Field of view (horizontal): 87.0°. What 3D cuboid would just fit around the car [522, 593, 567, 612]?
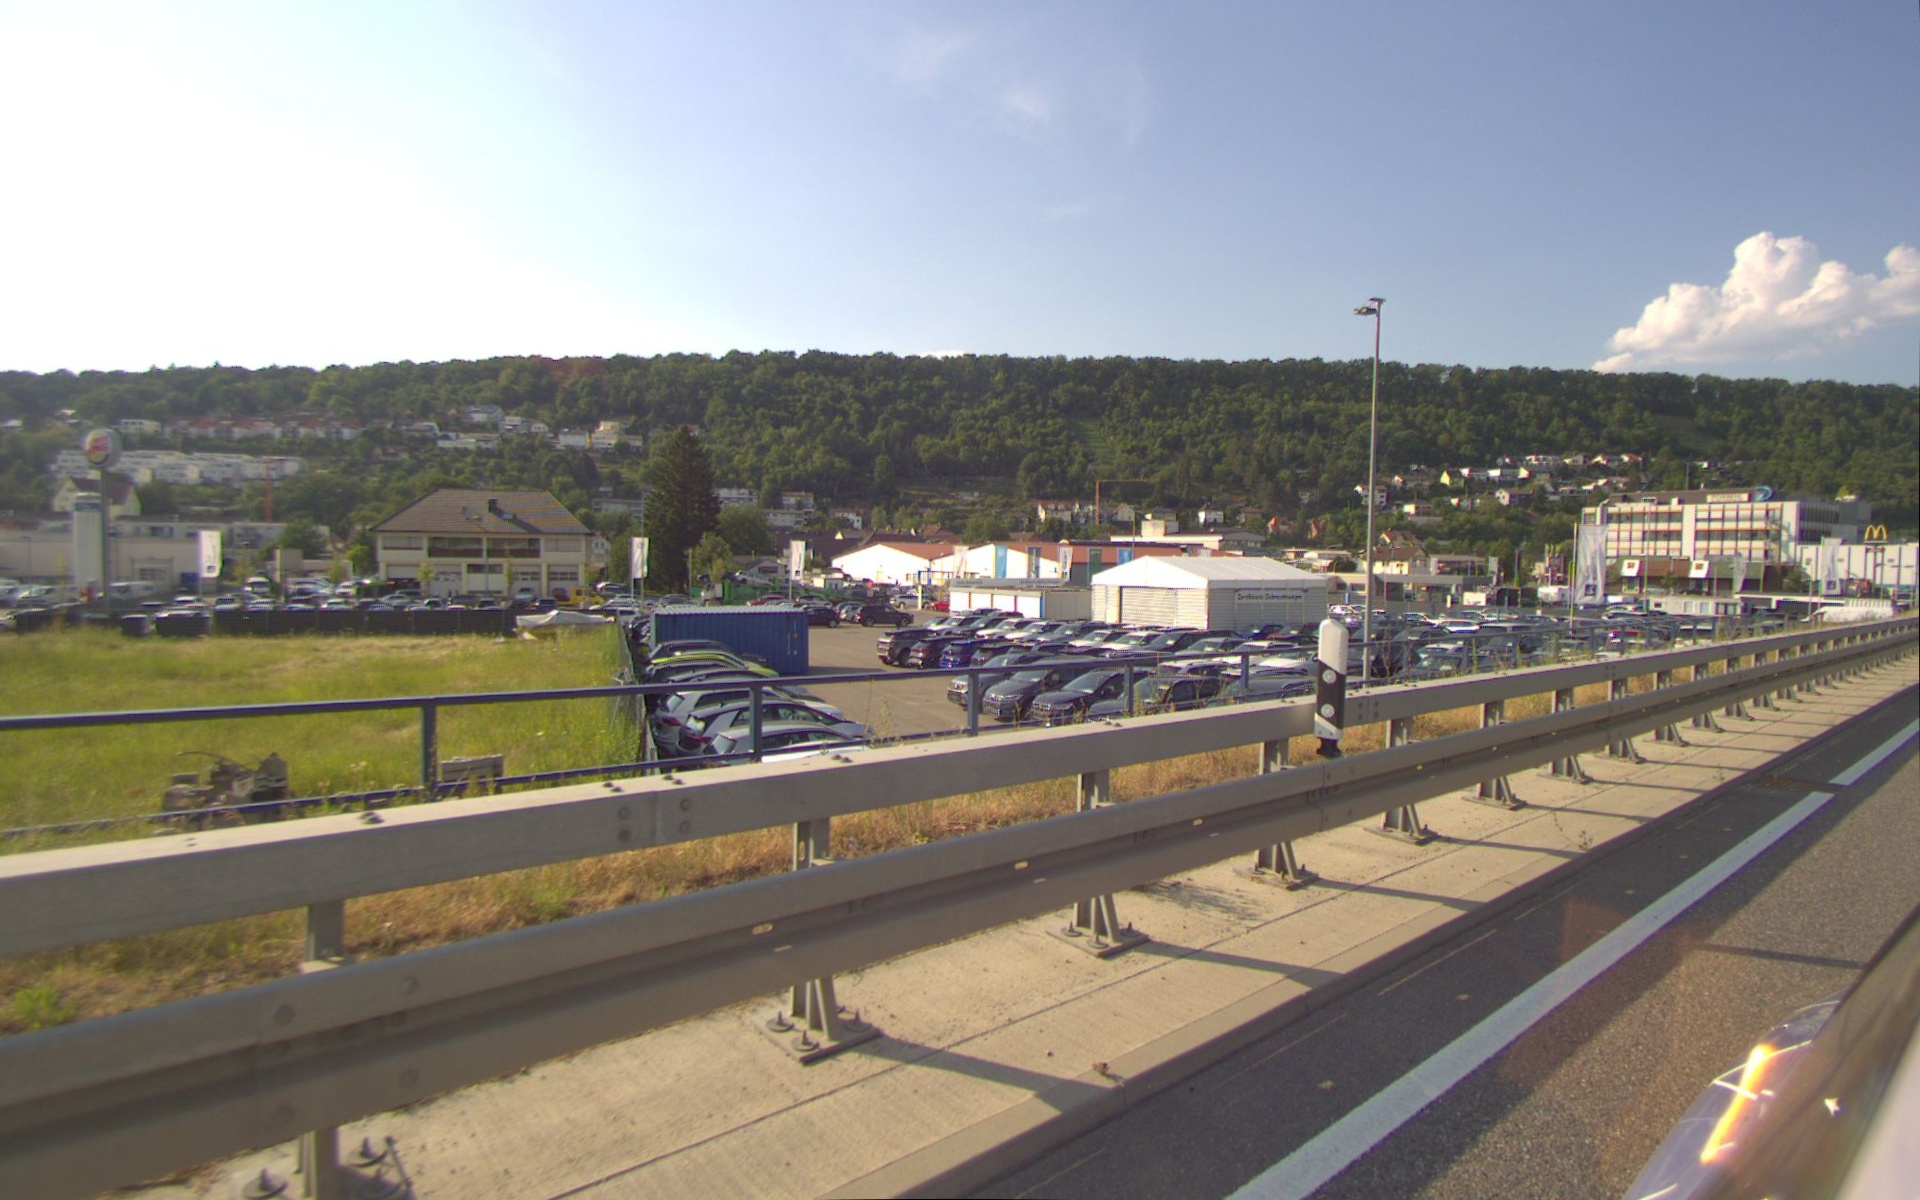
[{"bbox_3d":[-37.505,0.229,91.468,3.701,1.597,1.756,-1,1,-21],"label":"car"}]

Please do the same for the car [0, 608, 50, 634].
[{"bbox_3d":[-60.765,1.324,64.510,3.701,1.597,1.756,-1,1,-21],"label":"car"}]

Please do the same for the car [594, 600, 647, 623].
[{"bbox_3d":[-25.110,0.815,74.828,3.701,1.597,1.756,-1,1,-21],"label":"car"}]

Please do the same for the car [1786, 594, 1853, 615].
[{"bbox_3d":[77.709,0.394,91.485,2.093,1.772,4.331,-1,1,-39],"label":"car"}]

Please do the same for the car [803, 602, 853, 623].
[{"bbox_3d":[-10.669,1.017,81.771,3.700,1.597,1.756,-1,1,-19],"label":"car"}]

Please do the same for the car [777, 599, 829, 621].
[{"bbox_3d":[-12.134,0.737,78.062,3.700,1.597,1.756,-1,1,-19],"label":"car"}]

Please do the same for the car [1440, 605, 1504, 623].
[{"bbox_3d":[41.924,1.124,82.968,1.766,1.386,4.434,-1,1,-33],"label":"car"}]

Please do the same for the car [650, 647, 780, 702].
[{"bbox_3d":[-8.082,2.417,33.424,3.918,1.482,1.714,-1,1,-25],"label":"car"}]

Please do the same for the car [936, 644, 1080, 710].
[{"bbox_3d":[1.469,2.275,30.755,3.919,1.663,1.962,-1,1,-29],"label":"car"}]

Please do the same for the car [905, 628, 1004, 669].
[{"bbox_3d":[-0.206,1.986,42.341,3.926,1.482,1.711,-1,1,-37],"label":"car"}]

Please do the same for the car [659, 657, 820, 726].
[{"bbox_3d":[-6.059,2.462,27.832,3.919,1.482,1.962,-1,1,-29],"label":"car"}]

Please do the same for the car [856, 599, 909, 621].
[{"bbox_3d":[-5.960,0.718,77.759,3.700,1.597,1.756,-1,1,-19],"label":"car"}]

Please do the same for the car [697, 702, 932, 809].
[{"bbox_3d":[-2.673,2.777,18.694,3.919,1.371,1.826,-1,1,-28],"label":"car"}]

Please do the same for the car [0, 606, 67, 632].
[{"bbox_3d":[-61.790,1.249,66.893,3.701,1.597,1.756,-1,1,-21],"label":"car"}]

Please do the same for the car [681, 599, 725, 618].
[{"bbox_3d":[-24.067,0.782,94.708,3.702,1.597,1.756,-1,1,-24],"label":"car"}]

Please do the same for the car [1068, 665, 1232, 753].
[{"bbox_3d":[4.547,2.503,24.020,3.928,1.583,1.710,-1,1,-39],"label":"car"}]

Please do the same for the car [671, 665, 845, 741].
[{"bbox_3d":[-5.093,2.542,25.586,3.919,1.482,1.962,-1,1,-29],"label":"car"}]

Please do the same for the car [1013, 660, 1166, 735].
[{"bbox_3d":[3.398,2.458,26.276,3.928,1.482,1.710,-1,1,-39],"label":"car"}]

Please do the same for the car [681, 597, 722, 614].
[{"bbox_3d":[-25.903,0.517,101.366,3.702,1.597,1.756,-1,1,-24],"label":"car"}]

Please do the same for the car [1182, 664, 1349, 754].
[{"bbox_3d":[6.790,2.322,22.281,3.931,1.482,1.709,-1,1,-41],"label":"car"}]

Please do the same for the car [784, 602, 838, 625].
[{"bbox_3d":[-11.060,0.958,74.994,3.700,1.597,1.756,-1,1,-19],"label":"car"}]

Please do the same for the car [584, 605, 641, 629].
[{"bbox_3d":[-24.338,1.178,70.886,3.701,1.597,1.756,-1,1,-21],"label":"car"}]

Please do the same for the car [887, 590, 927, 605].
[{"bbox_3d":[-5.804,-0.304,111.708,4.138,1.521,1.593,-1,1,-18],"label":"car"}]

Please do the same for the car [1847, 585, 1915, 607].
[{"bbox_3d":[76.657,-0.341,84.253,1.868,1.772,3.996,-1,1,-39],"label":"car"}]

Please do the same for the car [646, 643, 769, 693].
[{"bbox_3d":[-8.865,2.346,35.555,3.918,1.482,1.714,-1,1,-25],"label":"car"}]

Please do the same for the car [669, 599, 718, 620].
[{"bbox_3d":[-22.083,0.788,83.881,3.702,1.597,1.756,-1,1,-24],"label":"car"}]

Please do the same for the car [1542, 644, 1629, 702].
[{"bbox_3d":[22.304,2.553,36.043,3.770,1.700,1.615,-1,1,-41],"label":"car"}]

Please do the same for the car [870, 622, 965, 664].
[{"bbox_3d":[-1.871,1.864,44.715,3.926,1.623,1.711,-1,1,-37],"label":"car"}]

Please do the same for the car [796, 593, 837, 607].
[{"bbox_3d":[-14.530,-0.005,102.594,3.916,1.367,1.593,-1,1,-18],"label":"car"}]

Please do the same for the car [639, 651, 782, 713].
[{"bbox_3d":[-7.610,2.449,30.927,3.920,1.521,1.815,-1,1,-29],"label":"car"}]

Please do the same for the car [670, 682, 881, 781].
[{"bbox_3d":[-3.811,2.647,20.959,3.919,1.518,1.826,-1,1,-28],"label":"car"}]

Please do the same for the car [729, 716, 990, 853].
[{"bbox_3d":[-1.582,2.885,16.547,3.926,1.482,1.711,-1,1,-36],"label":"car"}]

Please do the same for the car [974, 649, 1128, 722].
[{"bbox_3d":[2.615,2.358,28.638,4.273,1.643,1.711,-1,1,-36],"label":"car"}]

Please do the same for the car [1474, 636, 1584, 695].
[{"bbox_3d":[17.375,1.935,30.838,3.931,1.482,1.709,-1,1,-41],"label":"car"}]

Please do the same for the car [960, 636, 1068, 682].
[{"bbox_3d":[2.090,2.203,38.489,3.926,1.482,1.711,-1,1,-37],"label":"car"}]

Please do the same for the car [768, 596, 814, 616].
[{"bbox_3d":[-14.423,0.521,86.346,3.700,1.597,1.756,-1,1,-19],"label":"car"}]

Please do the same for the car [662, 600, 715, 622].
[{"bbox_3d":[-20.970,0.812,78.146,3.702,1.597,1.756,-1,1,-24],"label":"car"}]

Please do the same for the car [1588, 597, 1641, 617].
[{"bbox_3d":[64.622,0.659,99.984,1.772,1.677,3.999,-1,3,-37],"label":"car"}]

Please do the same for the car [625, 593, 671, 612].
[{"bbox_3d":[-27.541,0.220,89.284,3.701,1.597,1.756,-1,1,-21],"label":"car"}]

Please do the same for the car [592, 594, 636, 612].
[{"bbox_3d":[-31.463,0.282,91.944,3.701,1.597,1.756,-1,1,-21],"label":"car"}]

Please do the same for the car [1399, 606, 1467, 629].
[{"bbox_3d":[36.156,1.315,77.493,1.766,1.563,4.434,-1,1,-33],"label":"car"}]

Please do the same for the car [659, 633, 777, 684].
[{"bbox_3d":[-9.060,2.144,37.888,3.919,1.614,1.962,-1,1,-29],"label":"car"}]

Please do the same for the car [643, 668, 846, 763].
[{"bbox_3d":[-4.900,2.552,23.089,4.158,1.662,1.962,-1,1,-29],"label":"car"}]
